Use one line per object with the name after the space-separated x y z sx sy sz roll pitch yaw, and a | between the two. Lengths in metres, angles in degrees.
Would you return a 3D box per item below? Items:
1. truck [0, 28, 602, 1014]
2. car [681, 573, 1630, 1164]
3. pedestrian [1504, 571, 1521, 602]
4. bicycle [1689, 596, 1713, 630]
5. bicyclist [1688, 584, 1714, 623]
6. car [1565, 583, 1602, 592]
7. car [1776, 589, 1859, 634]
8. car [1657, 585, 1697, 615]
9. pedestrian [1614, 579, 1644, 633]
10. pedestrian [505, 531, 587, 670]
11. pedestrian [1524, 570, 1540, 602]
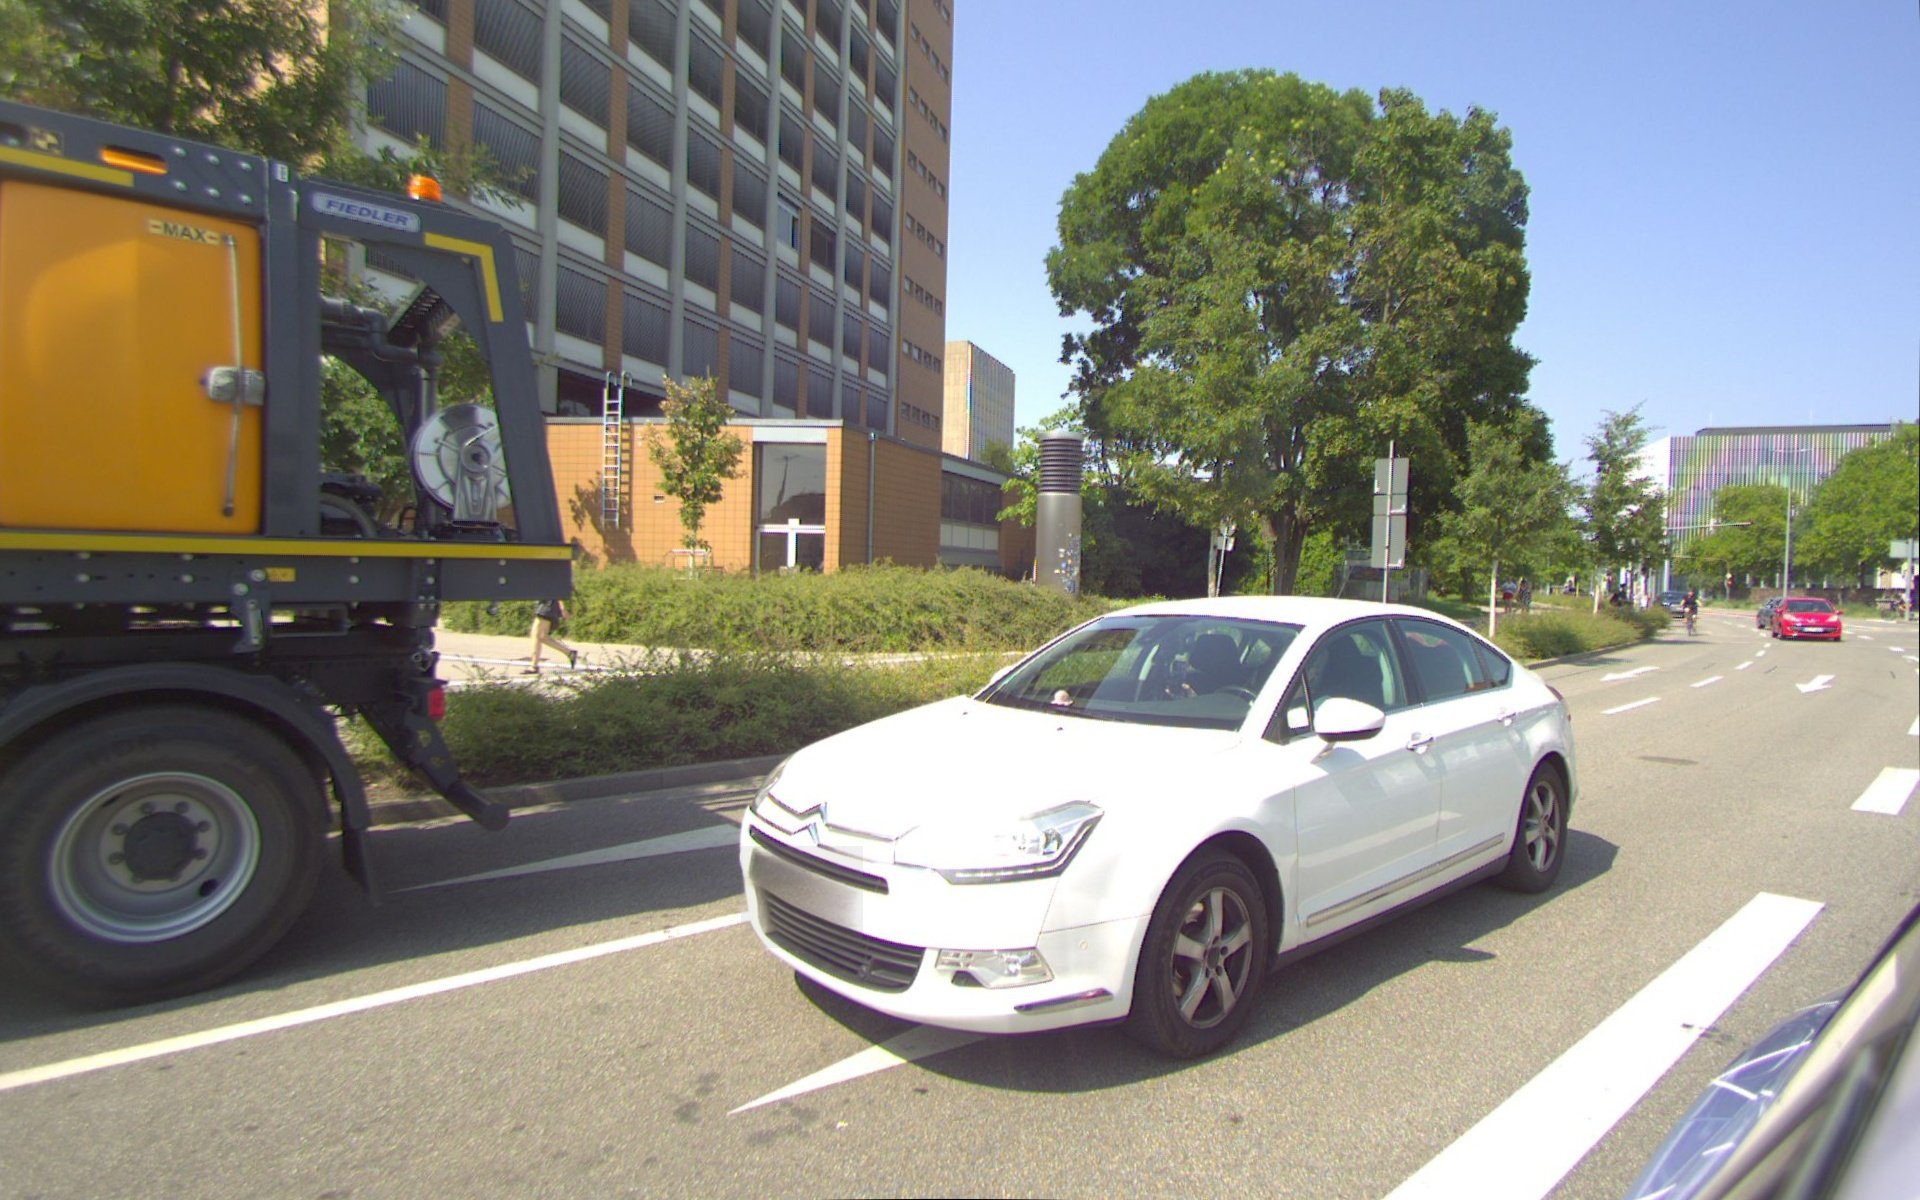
-4.984 -0.265 3.343 6.736 3.174 2.498 0 0 -39 | truck
1.236 0.650 4.643 4.526 1.446 1.773 0 2 -39 | car
23.398 -0.578 42.864 0.630 1.315 0.481 0 0 32 | pedestrian
27.293 0.460 37.292 0.590 1.183 2.208 2 2 34 | bicycle
27.352 0.128 37.371 0.675 1.417 1.036 2 1 34 | bicyclist
93.197 -1.875 151.266 4.354 1.405 1.764 0 0 13 | car
29.302 0.352 34.666 1.639 1.449 3.772 1 1 32 | car
43.869 -0.045 61.877 1.802 1.682 3.946 3 3 38 | car
24.203 0.215 36.625 0.818 1.926 0.622 2 1 37 | pedestrian
-5.354 -0.004 13.090 0.792 1.720 0.671 0 1 -41 | pedestrian
23.969 -0.582 42.393 0.572 1.315 0.432 0 0 31 | pedestrian
